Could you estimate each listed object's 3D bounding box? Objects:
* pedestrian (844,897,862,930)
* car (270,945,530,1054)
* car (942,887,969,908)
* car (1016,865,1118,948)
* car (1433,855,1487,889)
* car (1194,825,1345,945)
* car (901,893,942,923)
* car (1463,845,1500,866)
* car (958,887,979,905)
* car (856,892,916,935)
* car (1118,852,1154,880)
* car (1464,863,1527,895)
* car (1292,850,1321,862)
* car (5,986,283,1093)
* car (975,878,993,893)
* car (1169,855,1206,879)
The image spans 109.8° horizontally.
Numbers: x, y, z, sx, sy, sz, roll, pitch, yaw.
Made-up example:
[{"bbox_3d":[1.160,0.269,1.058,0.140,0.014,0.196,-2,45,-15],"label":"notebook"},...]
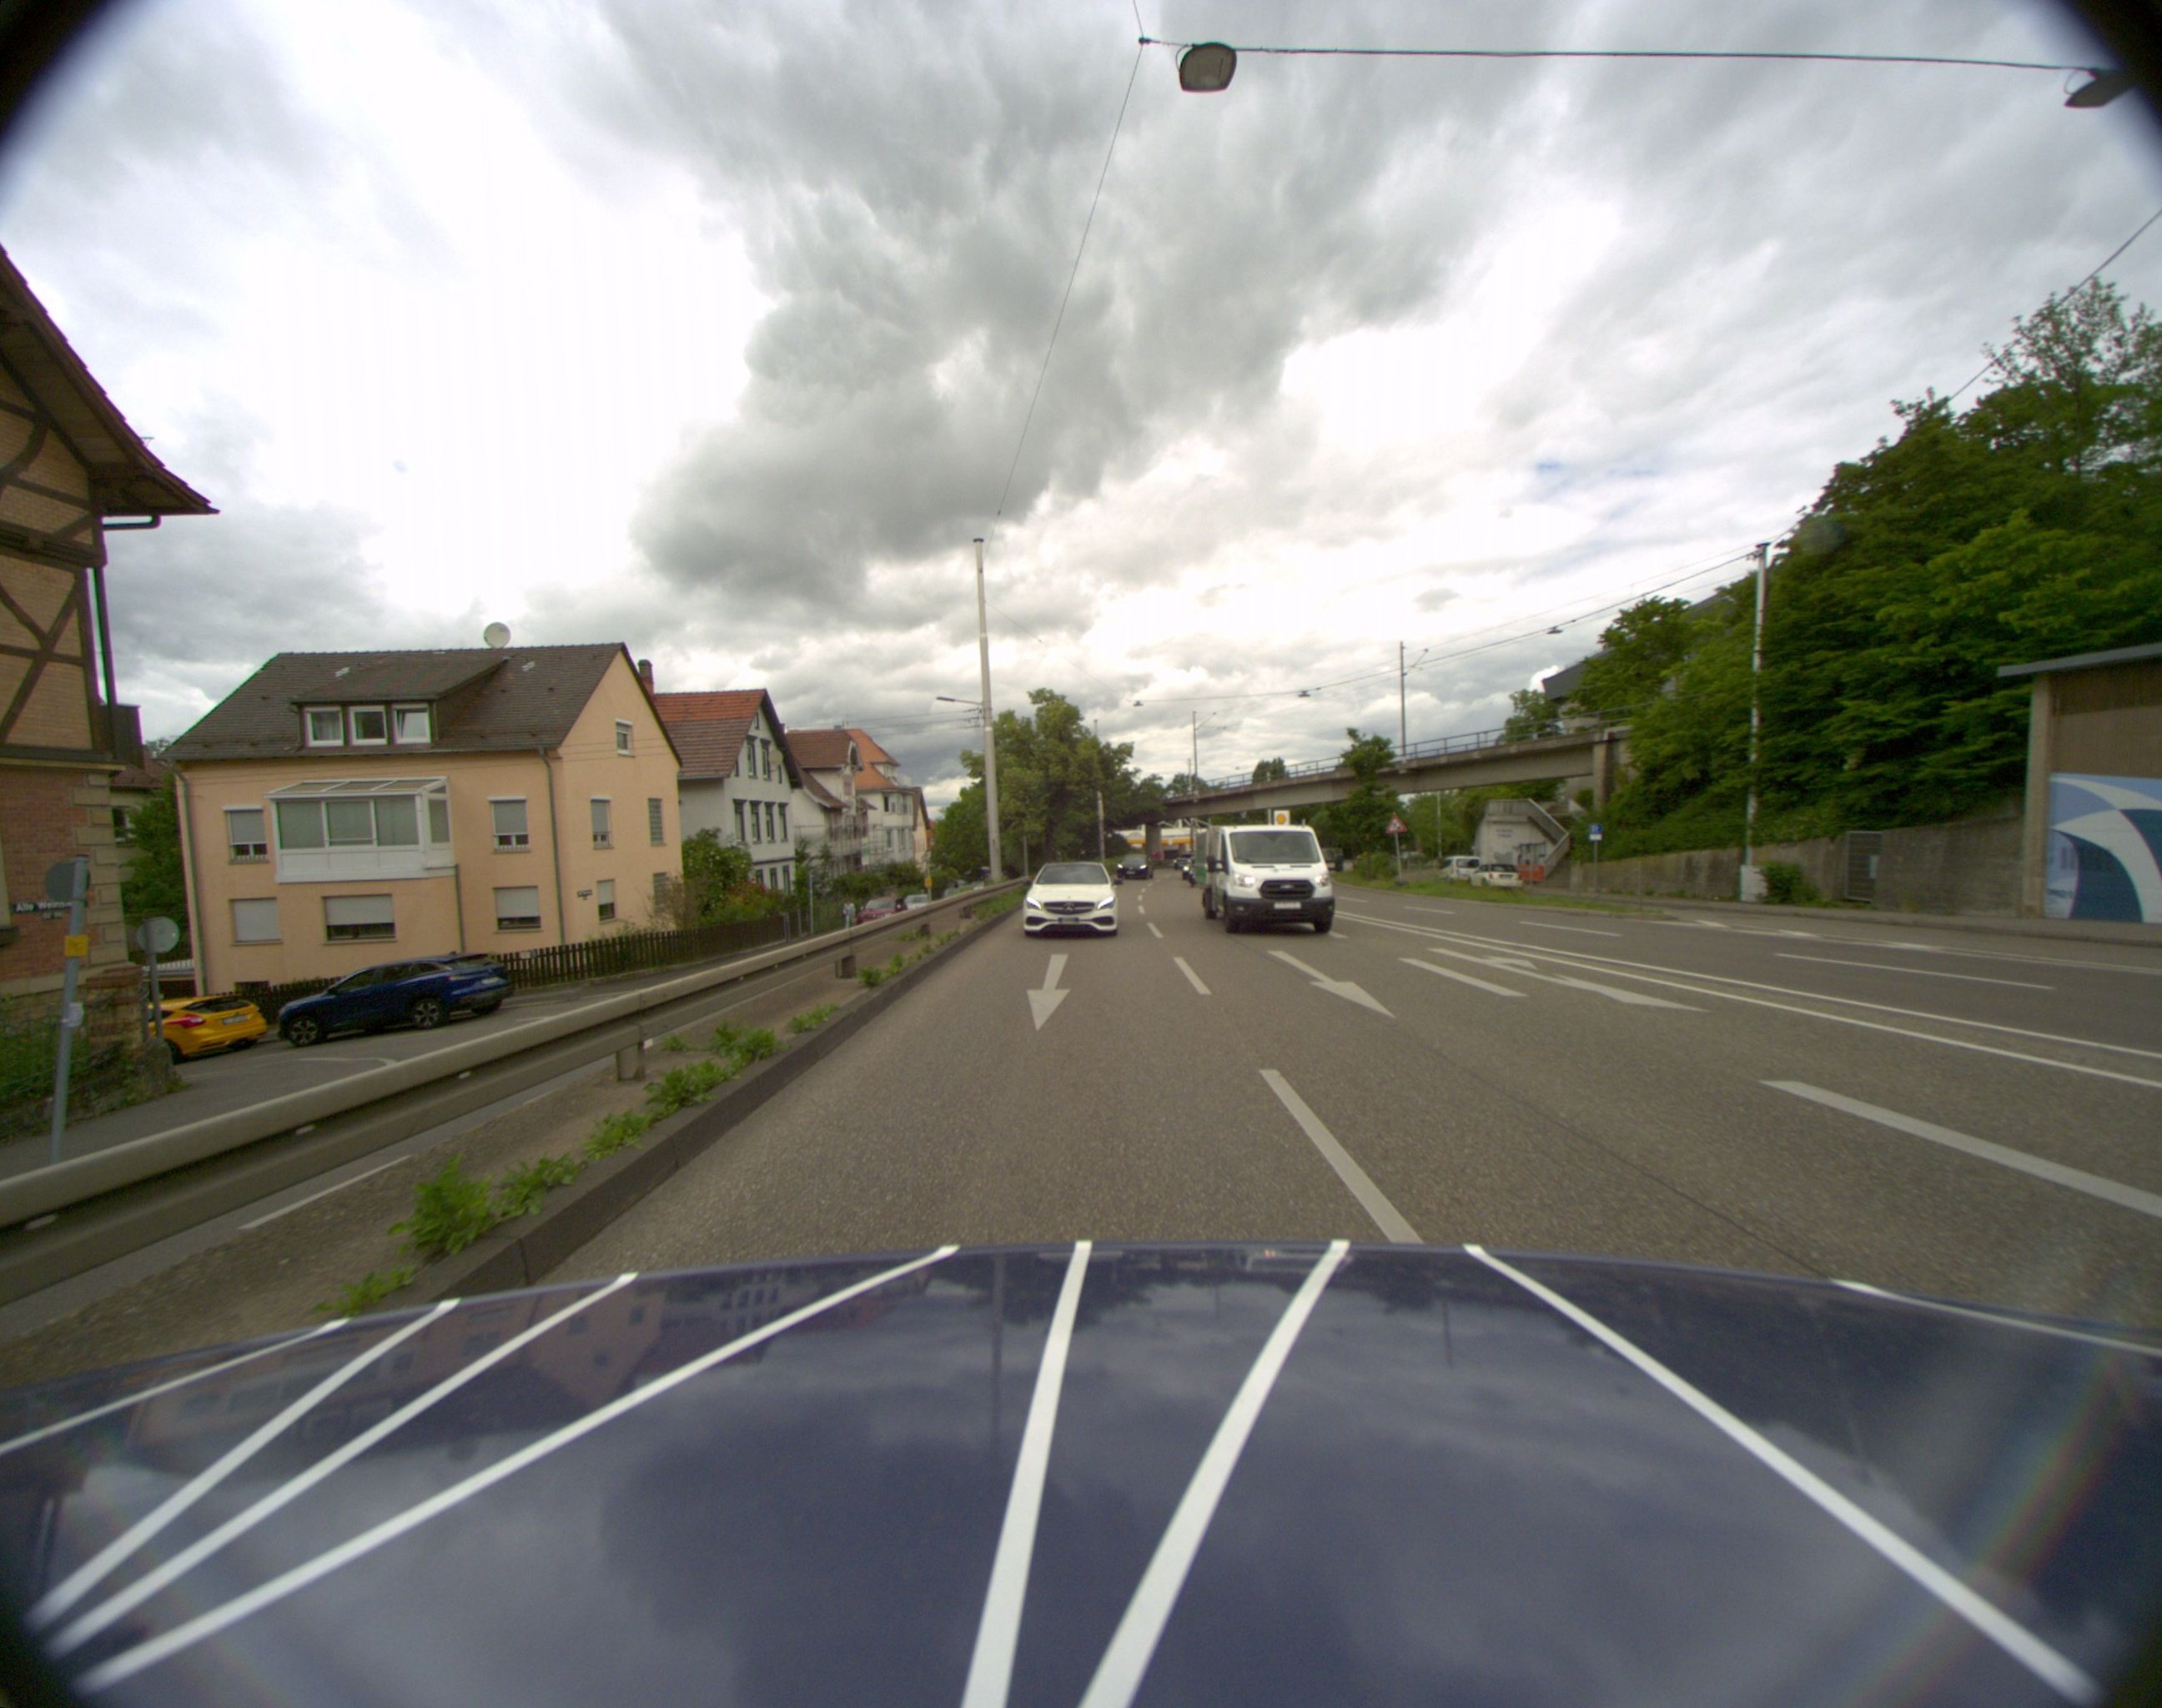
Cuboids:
[{"bbox_3d":[-10.743,2.806,35.791,0.619,1.472,0.589,-3,0,-1],"label":"pedestrian"},{"bbox_3d":[-15.699,3.313,17.718,3.998,1.564,2.000,-9,0,-2],"label":"car"},{"bbox_3d":[-10.181,3.469,61.638,1.623,1.439,4.056,-3,0,-3],"label":"car"},{"bbox_3d":[-0.154,0.967,15.620,1.821,1.339,4.000,0,1,3],"label":"car"},{"bbox_3d":[22.039,0.989,44.333,1.769,1.775,4.469,3,1,13],"label":"car"},{"bbox_3d":[3.841,0.523,16.768,1.998,2.161,6.268,0,1,2],"label":"car"},{"bbox_3d":[-9.470,3.172,45.405,1.623,1.432,4.432,-3,0,-3],"label":"car"},{"bbox_3d":[46.977,0.155,89.028,2.268,2.260,6.340,3,2,42],"label":"car"},{"bbox_3d":[-10.588,3.957,71.667,1.624,1.439,4.028,-3,0,-4],"label":"car"},{"bbox_3d":[-9.206,2.776,36.134,1.787,1.660,4.202,-3,0,-1],"label":"car"},{"bbox_3d":[3.338,0.746,46.641,1.998,1.521,4.001,-4,-1,2],"label":"car"},{"bbox_3d":[20.611,1.190,37.922,1.769,1.411,3.807,1,1,13],"label":"car"},{"bbox_3d":[28.075,0.264,94.424,4.008,1.469,1.726,0,1,-45],"label":"car"},{"bbox_3d":[-21.357,4.206,17.452,3.998,1.453,1.677,-9,0,-2],"label":"car"},{"bbox_3d":[-10.629,3.427,83.495,1.650,1.386,3.769,-3,0,-4],"label":"car"},{"bbox_3d":[6.741,0.789,48.296,1.734,1.403,3.999,1,1,0],"label":"car"}]
